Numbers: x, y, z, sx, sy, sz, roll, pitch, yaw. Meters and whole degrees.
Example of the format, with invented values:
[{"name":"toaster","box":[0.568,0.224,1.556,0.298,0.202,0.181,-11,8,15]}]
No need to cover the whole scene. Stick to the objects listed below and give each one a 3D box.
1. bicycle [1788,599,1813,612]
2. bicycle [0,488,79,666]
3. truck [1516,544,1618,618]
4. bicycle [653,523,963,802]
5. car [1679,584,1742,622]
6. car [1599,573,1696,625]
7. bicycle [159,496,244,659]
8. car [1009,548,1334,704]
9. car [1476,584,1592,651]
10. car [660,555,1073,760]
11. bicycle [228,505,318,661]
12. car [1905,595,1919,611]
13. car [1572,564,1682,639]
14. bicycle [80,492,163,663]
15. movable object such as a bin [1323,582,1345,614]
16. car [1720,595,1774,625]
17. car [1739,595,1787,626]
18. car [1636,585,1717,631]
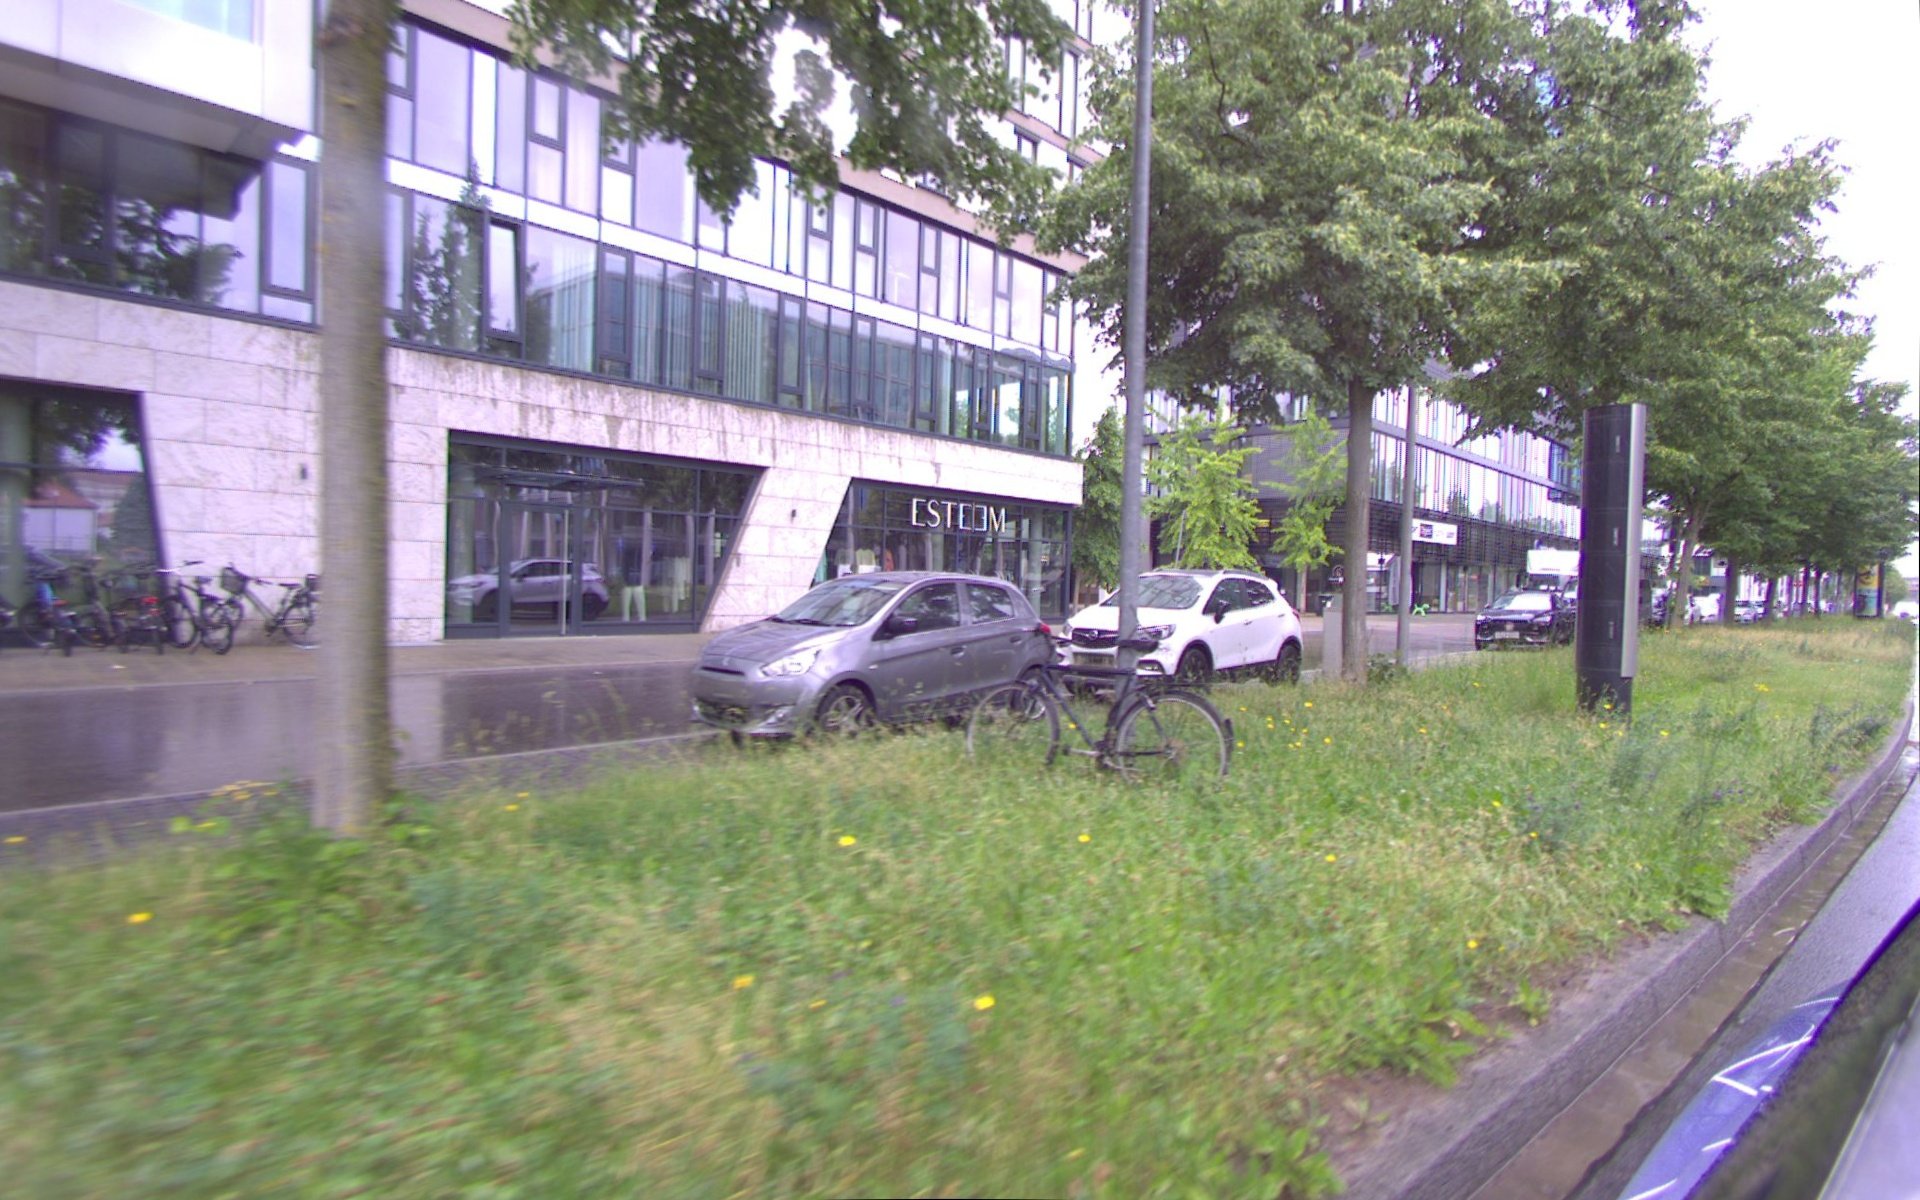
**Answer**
[{"name":"bicycle","box":[62.787,0.382,75.644,0.424,0.929,1.465,3,-1,-13]},{"name":"bicycle","box":[-10.841,-0.280,11.866,0.694,1.884,2.686,1,1,-40]},{"name":"truck","box":[31.063,-0.945,51.605,3.022,3.484,8.420,2,1,41]},{"name":"bicycle","box":[-0.877,0.240,5.285,0.483,1.211,2.036,0,2,-45]},{"name":"car","box":[32.857,0.186,44.270,1.768,1.471,4.651,-3,-4,41]},{"name":"car","box":[24.143,0.017,35.471,1.994,1.690,4.878,0,-1,44]},{"name":"bicycle","box":[-9.747,-0.304,12.965,0.694,1.884,2.686,1,1,-40]},{"name":"car","box":[2.947,0.343,13.367,1.994,1.690,4.647,2,-1,44]},{"name":"car","box":[14.853,0.380,26.075,1.952,1.531,4.421,2,1,38]},{"name":"car","box":[-0.712,0.431,9.328,1.625,1.509,3.598,2,0,43]},{"name":"bicycle","box":[-9.166,-0.248,13.443,0.694,1.884,2.686,1,1,-40]},{"name":"car","box":[101.058,0.296,106.951,1.682,1.549,3.907,2,-1,42]},{"name":"car","box":[19.779,0.092,29.894,1.992,1.977,4.952,2,-1,42]},{"name":"bicycle","box":[-10.277,-0.285,12.402,0.694,1.884,2.686,1,1,-40]},{"name":"movable object such as a bin","box":[15.261,-0.085,41.271,0.607,1.292,0.638,2,-1,40]},{"name":"car","box":[42.348,0.511,54.402,1.992,1.462,5.159,2,1,41]},{"name":"car","box":[46.663,0.647,58.761,1.761,1.617,4.033,2,-1,44]},{"name":"car","box":[28.428,0.324,40.097,1.993,1.690,4.649,0,-1,43]}]
